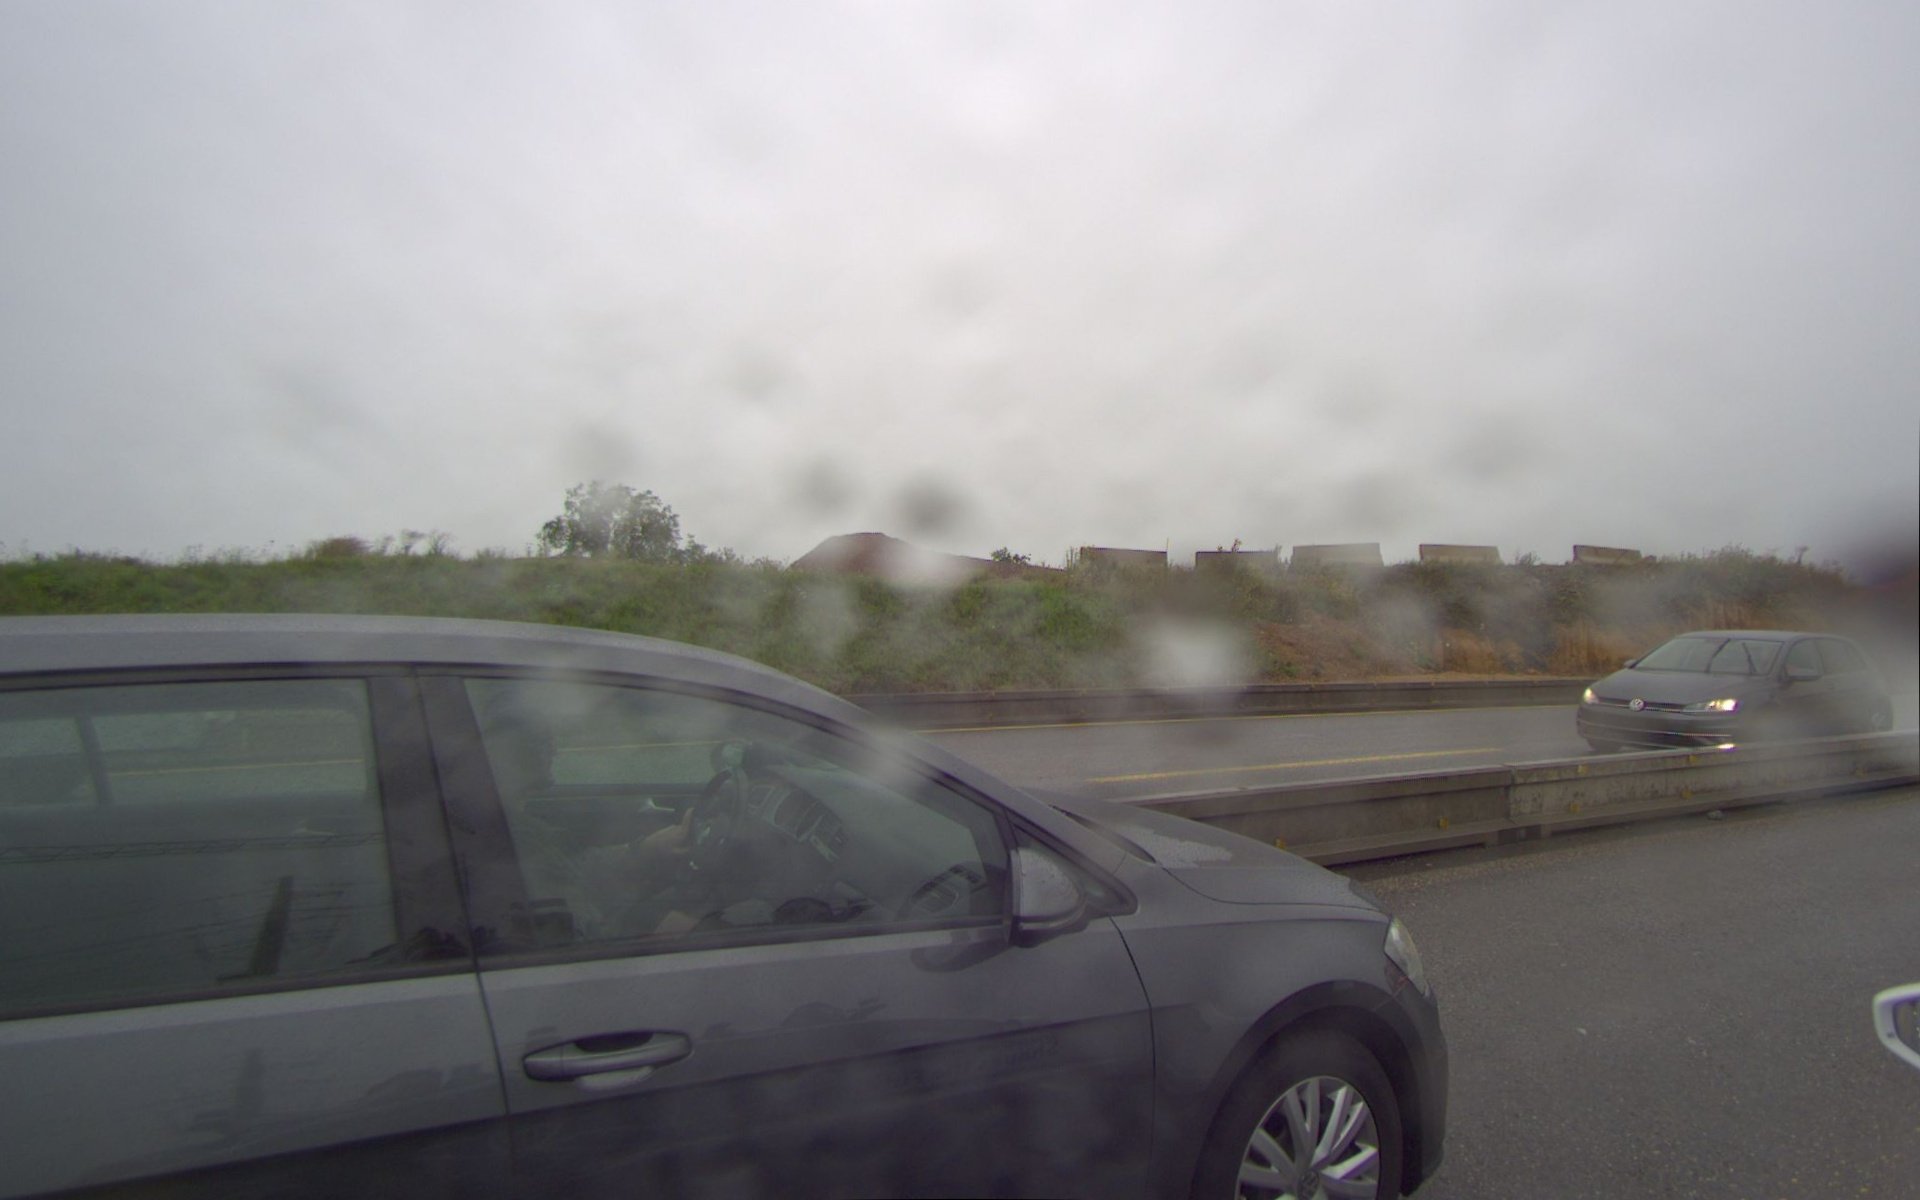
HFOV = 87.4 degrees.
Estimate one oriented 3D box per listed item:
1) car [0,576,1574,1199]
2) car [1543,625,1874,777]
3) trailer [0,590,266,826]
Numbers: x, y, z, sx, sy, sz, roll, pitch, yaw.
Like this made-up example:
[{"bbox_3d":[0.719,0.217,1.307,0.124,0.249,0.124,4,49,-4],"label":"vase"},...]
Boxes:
[{"bbox_3d":[-0.728,0.794,2.102,4.317,1.526,1.607,2,-3,-30],"label":"car"},{"bbox_3d":[8.676,1.070,11.609,3.664,1.445,1.780,2,0,-30],"label":"car"},{"bbox_3d":[-7.167,0.675,6.596,4.113,1.483,1.623,2,-3,-30],"label":"trailer"}]
